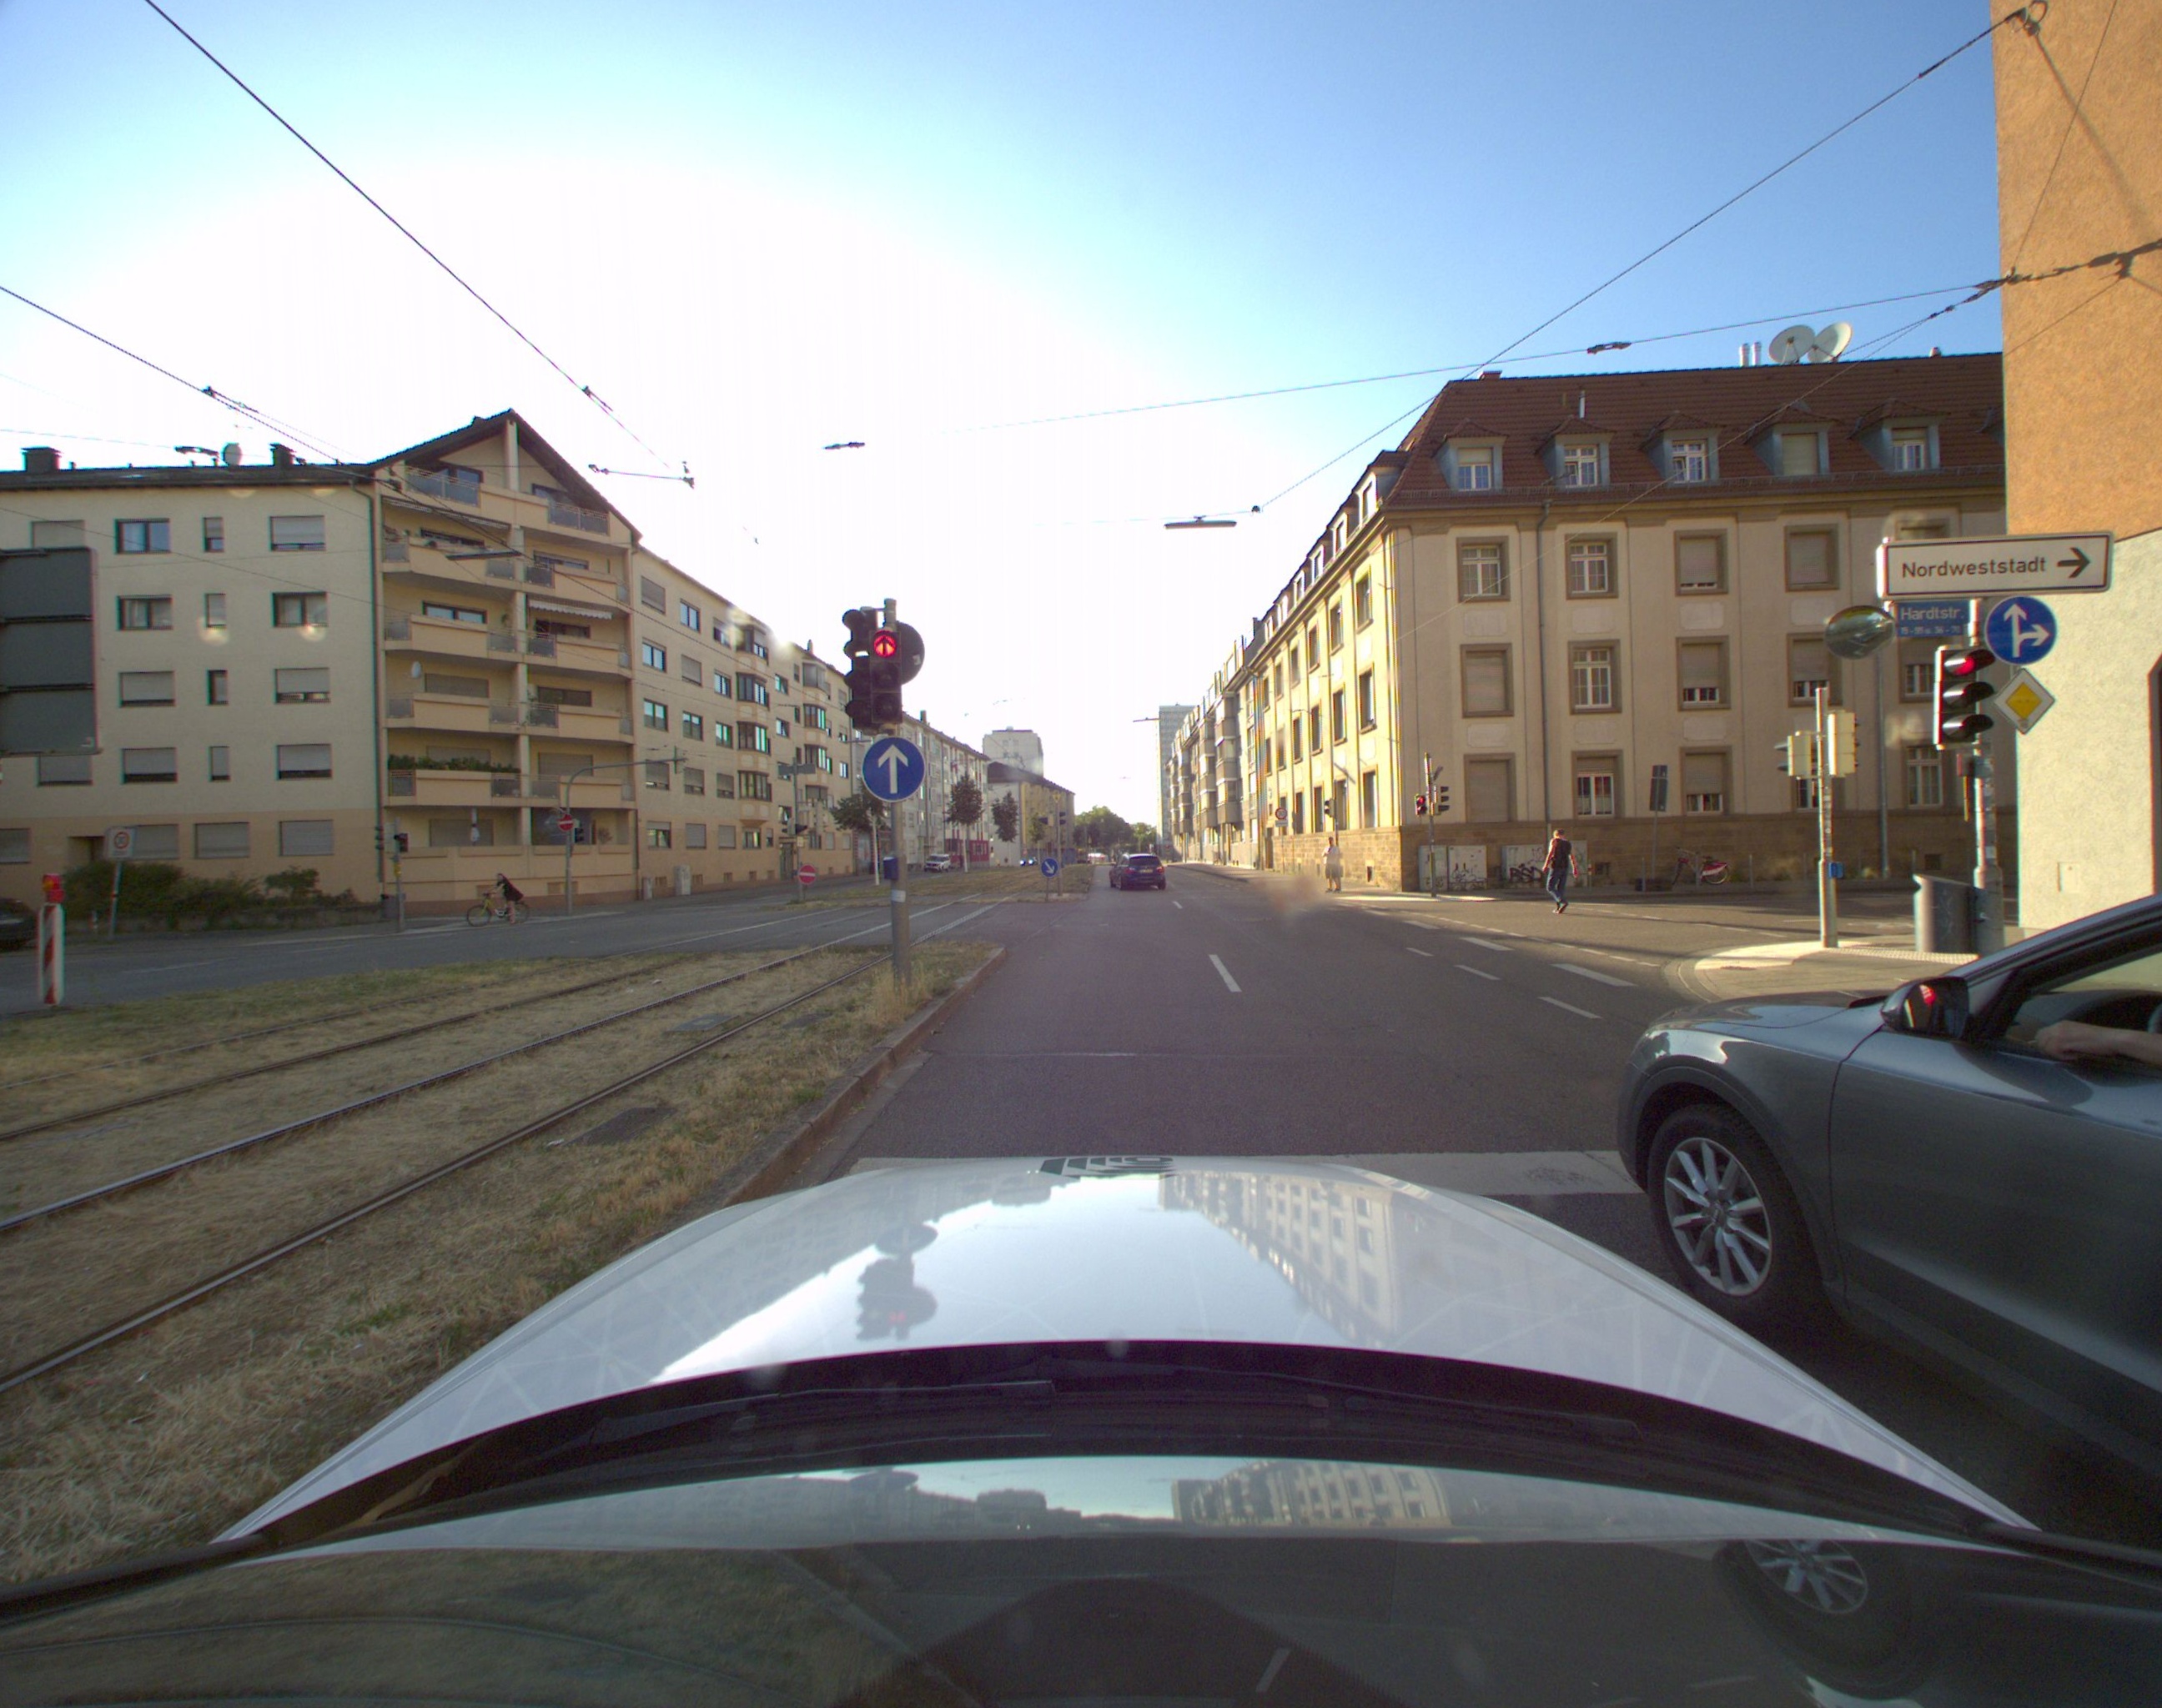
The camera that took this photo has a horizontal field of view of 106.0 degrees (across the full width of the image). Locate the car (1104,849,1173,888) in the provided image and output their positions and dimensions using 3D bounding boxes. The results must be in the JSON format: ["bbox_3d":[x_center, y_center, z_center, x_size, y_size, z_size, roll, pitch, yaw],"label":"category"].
[{"bbox_3d":[2.234,0.565,32.775,1.925,1.456,4.315,0,-1,-8],"label":"car"}]

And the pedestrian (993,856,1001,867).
[{"bbox_3d":[-12.814,1.166,124.282,0.957,1.694,1.013,-1,-1,7],"label":"pedestrian"}]

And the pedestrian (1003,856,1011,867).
[{"bbox_3d":[-11.388,1.137,125.178,0.957,1.670,1.013,-1,-1,7],"label":"pedestrian"}]

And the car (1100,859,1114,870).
[{"bbox_3d":[3.849,1.578,121.558,1.986,1.554,4.394,0,-1,1],"label":"car"}]

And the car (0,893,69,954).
[{"bbox_3d":[-30.142,1.929,21.461,3.983,1.442,1.996,-2,2,-7],"label":"car"}]

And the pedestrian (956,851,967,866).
[{"bbox_3d":[-14.519,0.515,98.974,1.268,1.761,1.271,0,-1,-8],"label":"pedestrian"}]

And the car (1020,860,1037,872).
[{"bbox_3d":[-7.867,1.821,122.556,1.888,1.633,4.754,-2,0,5],"label":"car"}]

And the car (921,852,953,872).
[{"bbox_3d":[-14.479,0.772,82.088,1.984,1.925,4.548,-1,-1,5],"label":"car"}]

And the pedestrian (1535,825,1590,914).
[{"bbox_3d":[9.831,0.316,16.662,0.627,1.758,0.826,0,-1,1],"label":"pedestrian"}]

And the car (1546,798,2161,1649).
[{"bbox_3d":[2.816,0.674,1.442,1.691,1.552,4.227,0,0,2],"label":"car"}]

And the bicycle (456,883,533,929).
[{"bbox_3d":[-18.188,1.587,25.304,0.450,1.257,1.883,-1,1,34],"label":"bicycle"}]

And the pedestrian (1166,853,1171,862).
[{"bbox_3d":[11.993,0.535,111.856,0.689,1.234,0.736,0,-1,1],"label":"pedestrian"}]

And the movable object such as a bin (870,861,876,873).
[{"bbox_3d":[-17.571,1.116,68.815,0.297,1.036,0.442,0,-1,3],"label":"movable object such as a bin"}]

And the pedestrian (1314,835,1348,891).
[{"bbox_3d":[8.078,0.281,26.321,0.832,1.762,0.824,0,-1,1],"label":"pedestrian"}]

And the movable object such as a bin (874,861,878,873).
[{"bbox_3d":[-17.475,1.108,69.424,0.297,1.036,0.441,0,-1,1],"label":"movable object such as a bin"}]

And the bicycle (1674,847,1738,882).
[{"bbox_3d":[18.397,0.324,23.999,1.491,1.018,0.251,-1,-1,17],"label":"bicycle"}]

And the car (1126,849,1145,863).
[{"bbox_3d":[6.252,0.186,93.715,1.986,1.564,4.002,0,-1,2],"label":"car"}]

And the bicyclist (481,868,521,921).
[{"bbox_3d":[-18.117,1.261,25.444,0.620,1.586,0.814,-1,0,35],"label":"bicyclist"}]

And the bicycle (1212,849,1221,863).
[{"bbox_3d":[10.272,0.153,61.919,0.382,1.096,1.503,-2,-1,0],"label":"bicycle"}]
